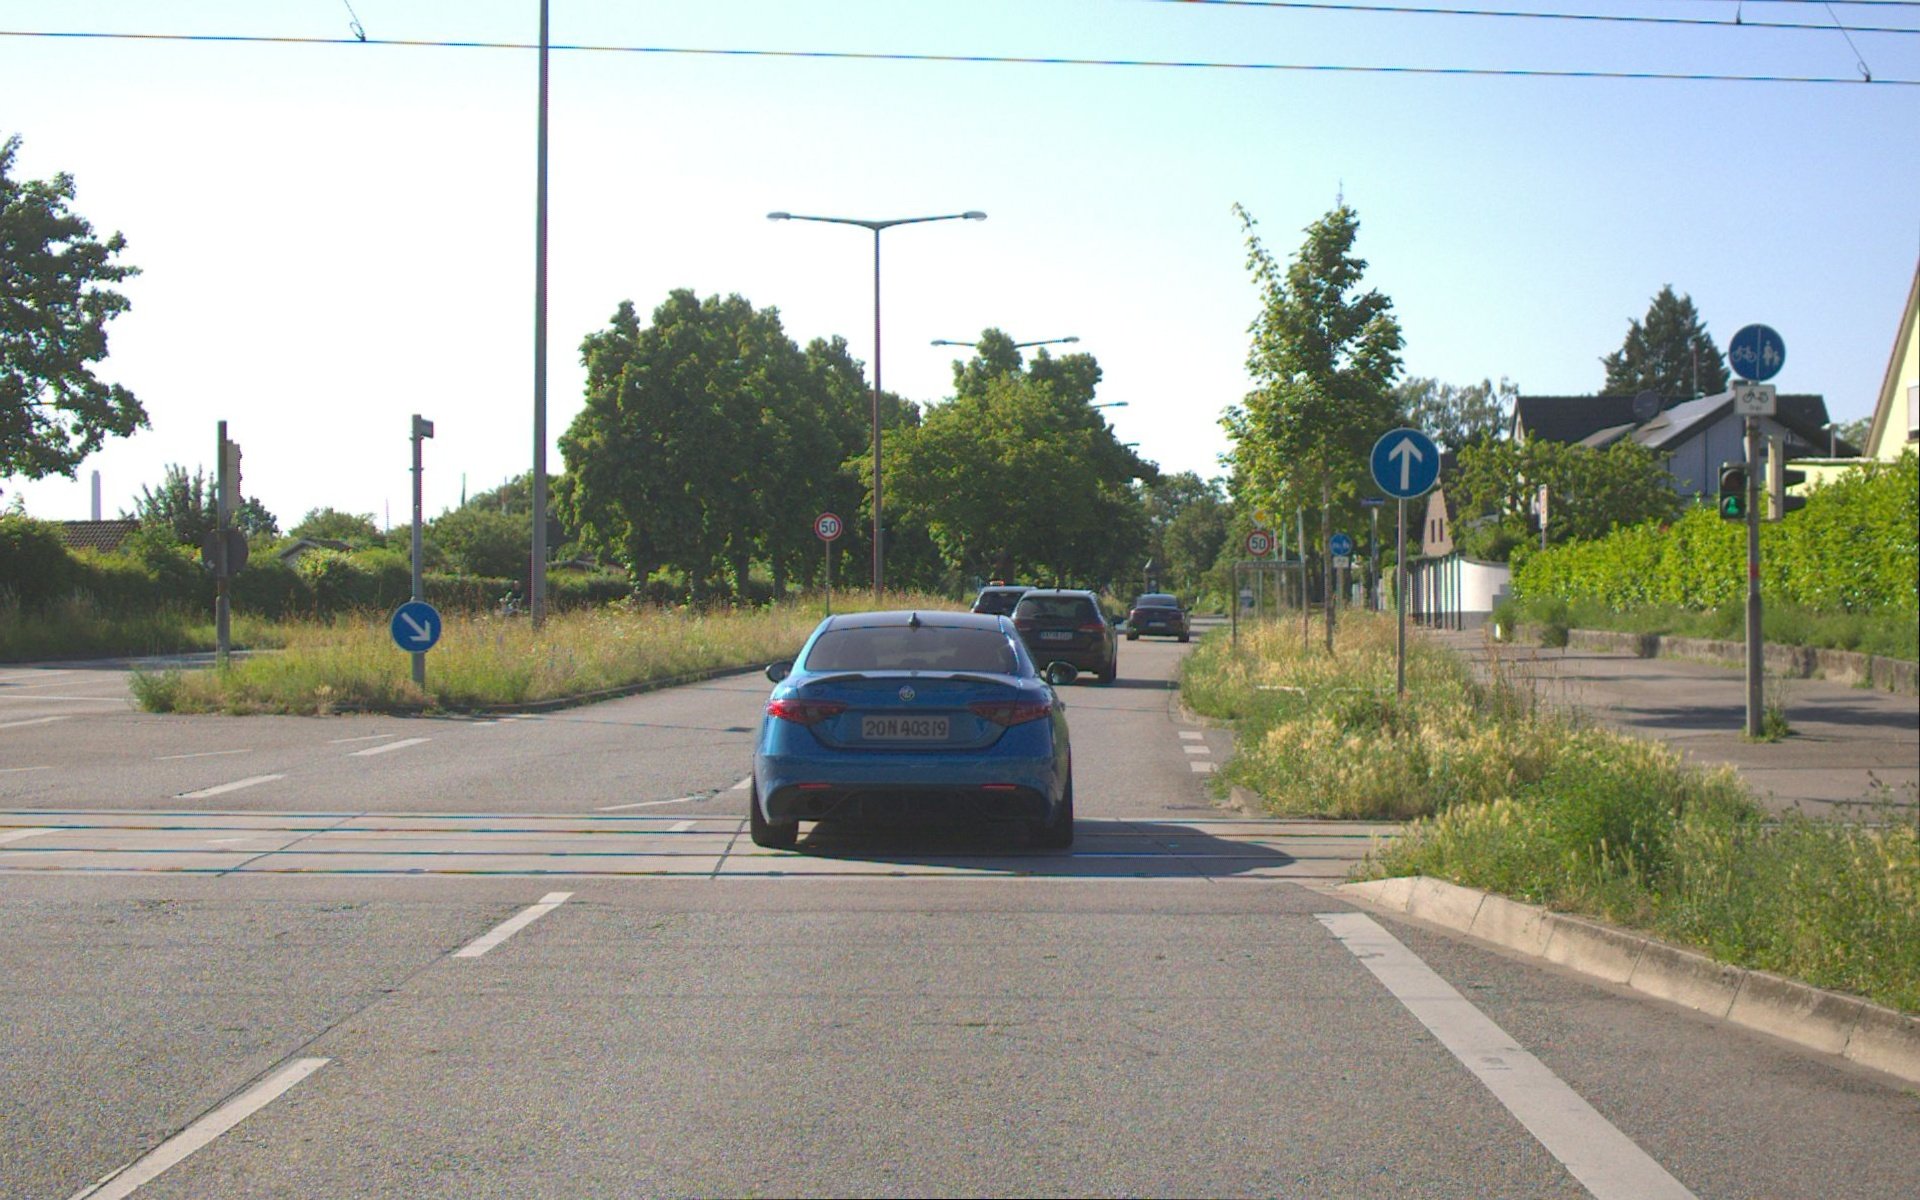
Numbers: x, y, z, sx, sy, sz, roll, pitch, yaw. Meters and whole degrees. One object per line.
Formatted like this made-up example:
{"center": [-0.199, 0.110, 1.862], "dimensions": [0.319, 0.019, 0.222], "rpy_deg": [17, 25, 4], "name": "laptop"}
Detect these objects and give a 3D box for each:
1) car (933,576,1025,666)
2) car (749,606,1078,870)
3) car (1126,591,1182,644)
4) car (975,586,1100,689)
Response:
{"center": [0.461, 0.466, 79.446], "dimensions": [1.793, 2.007, 3.999], "rpy_deg": [1, 0, 5], "name": "car"}
{"center": [-0.341, 0.789, 21.405], "dimensions": [1.838, 1.469, 4.184], "rpy_deg": [0, 0, -2], "name": "car"}
{"center": [5.986, 0.522, 105.845], "dimensions": [1.661, 1.574, 3.808], "rpy_deg": [1, 0, 4], "name": "car"}
{"center": [1.246, 0.570, 55.275], "dimensions": [1.915, 1.574, 4.182], "rpy_deg": [1, 0, 1], "name": "car"}
